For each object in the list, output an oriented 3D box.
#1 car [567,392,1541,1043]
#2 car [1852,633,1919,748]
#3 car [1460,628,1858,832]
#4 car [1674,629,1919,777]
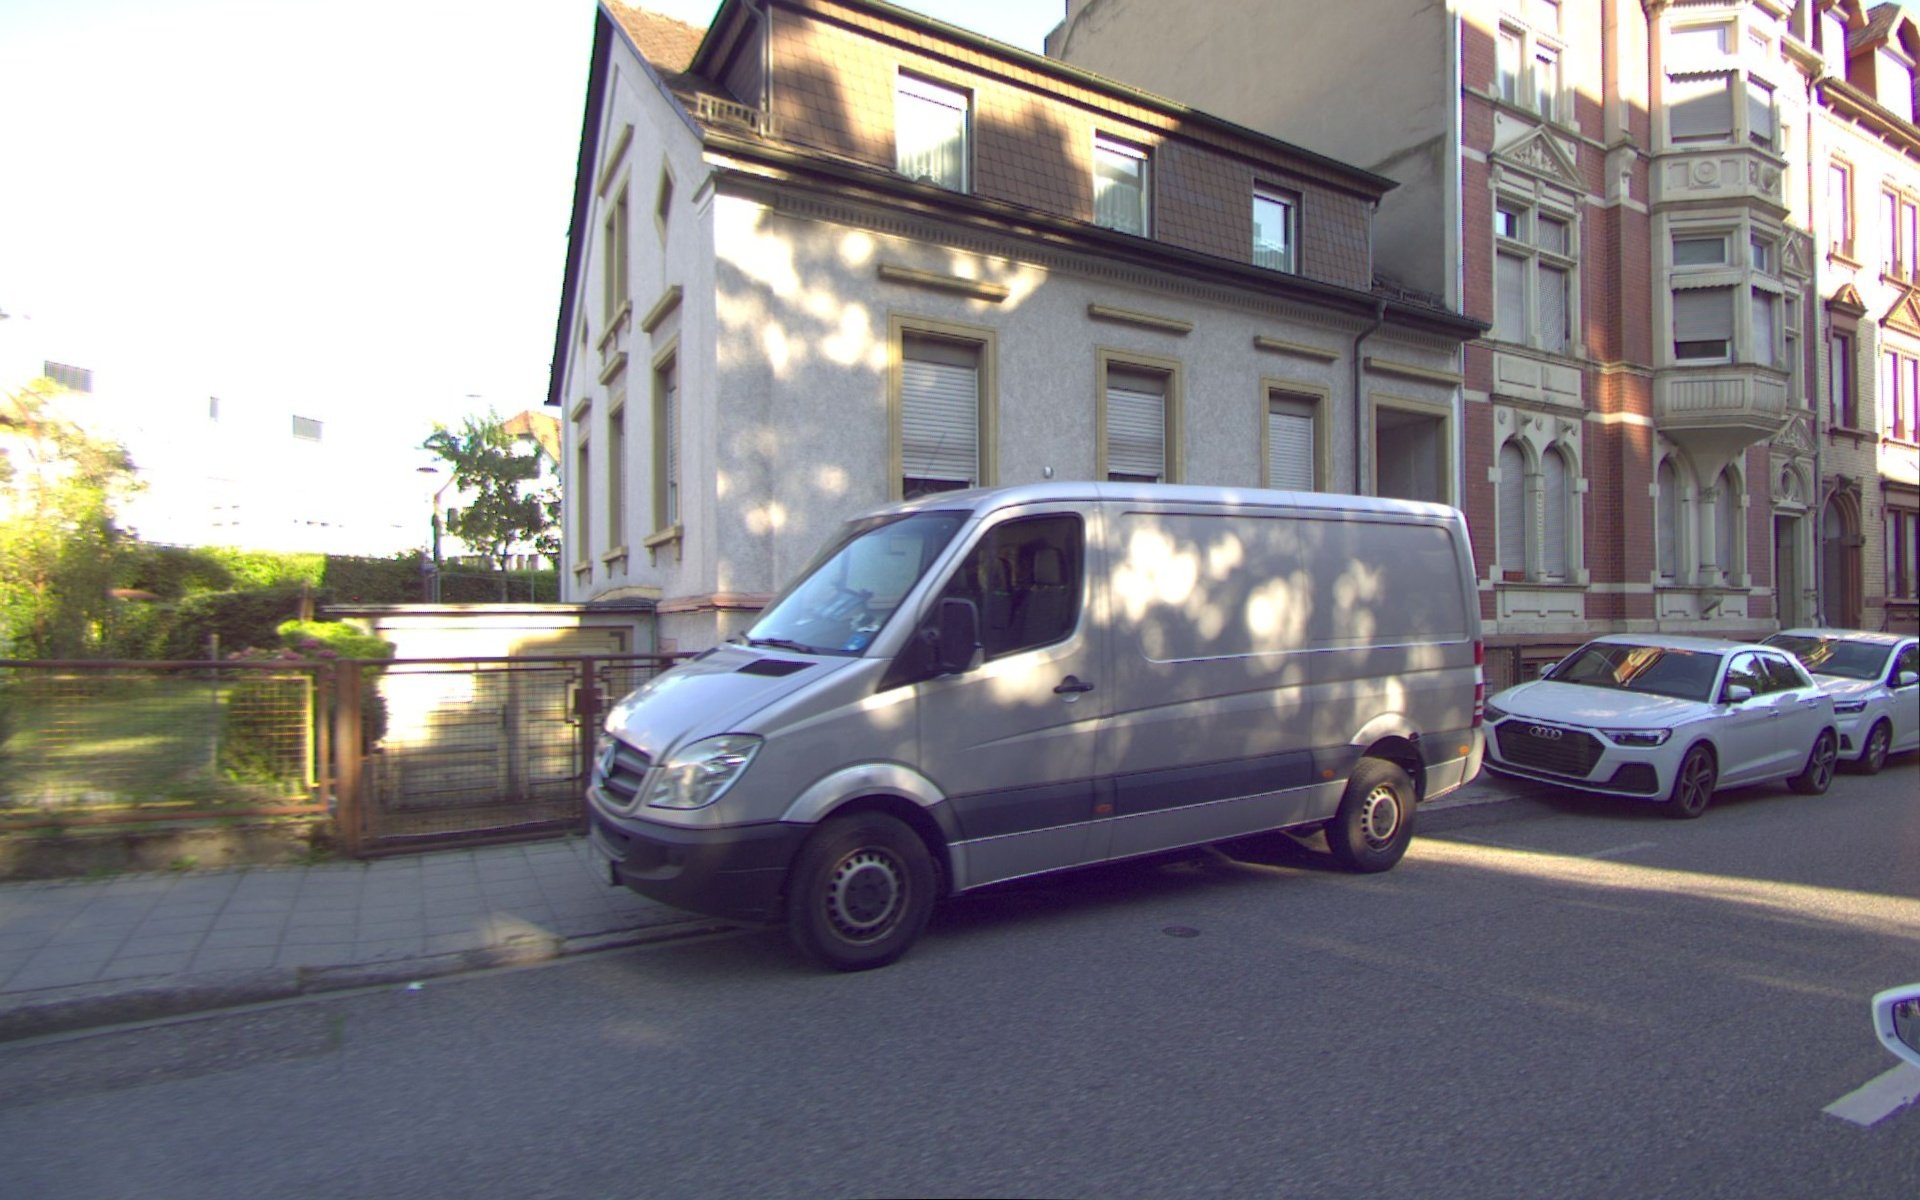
[{"bbox_3d":[0.870,0.491,6.235,5.942,2.493,2.058,1,0,-30],"label":"car"},{"bbox_3d":[15.130,1.282,14.844,4.497,1.557,1.694,1,-1,-31],"label":"car"},{"bbox_3d":[6.594,1.041,9.404,3.779,1.523,1.694,1,-1,-31],"label":"car"},{"bbox_3d":[10.736,1.136,12.349,3.973,1.523,1.695,1,-1,-30],"label":"car"}]
